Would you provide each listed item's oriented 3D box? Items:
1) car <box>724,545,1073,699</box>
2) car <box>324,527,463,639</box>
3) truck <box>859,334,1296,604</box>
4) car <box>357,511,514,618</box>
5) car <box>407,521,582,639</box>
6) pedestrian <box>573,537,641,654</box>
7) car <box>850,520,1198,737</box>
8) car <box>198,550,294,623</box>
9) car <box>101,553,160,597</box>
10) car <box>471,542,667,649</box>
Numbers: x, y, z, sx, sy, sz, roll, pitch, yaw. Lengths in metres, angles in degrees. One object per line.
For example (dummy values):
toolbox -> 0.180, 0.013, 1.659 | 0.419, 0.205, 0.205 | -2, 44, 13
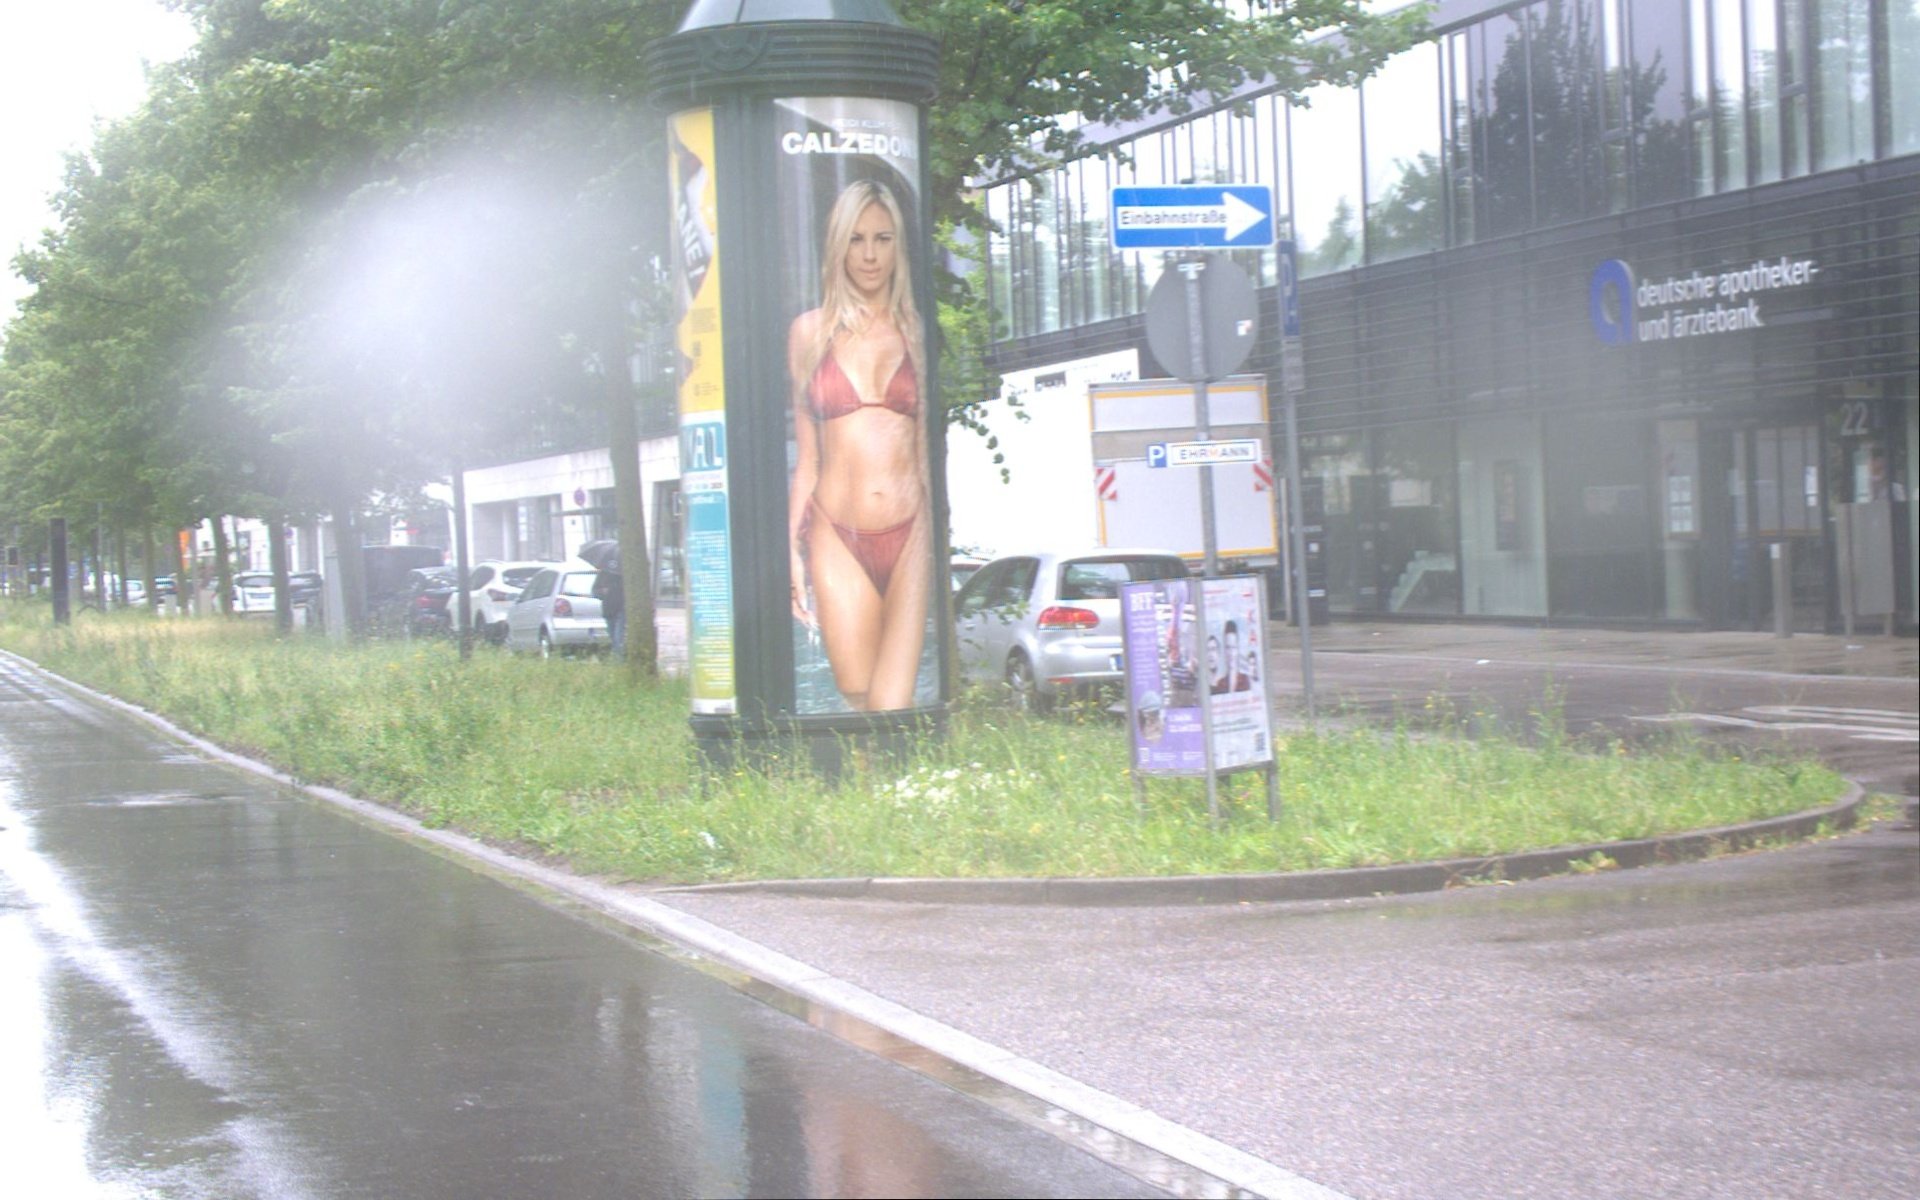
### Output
car -> -0.751, 0.191, 36.121 | 1.993, 1.439, 5.238 | -2, 1, -21
car -> -11.350, -0.385, 68.625 | 1.993, 1.945, 5.031 | -2, 3, -17
truck -> 1.429, -1.739, 48.396 | 3.024, 3.429, 8.550 | -2, 1, -20
car -> -9.479, -0.678, 61.816 | 1.993, 1.663, 4.960 | -2, 3, -17
car -> -7.613, -0.369, 55.836 | 1.993, 1.663, 4.726 | -2, 3, -17
pedestrian -> -4.616, -0.065, 44.936 | 0.697, 1.488, 0.644 | -2, 1, -20
car -> 0.468, 0.176, 29.733 | 1.760, 1.591, 4.102 | -2, 3, -17
car -> -19.086, -0.388, 91.747 | 1.993, 1.663, 4.726 | -2, 3, -17
car -> -32.762, -1.015, 135.749 | 1.881, 1.500, 4.726 | -2, 3, -17
car -> -5.792, -0.102, 50.407 | 1.769, 1.447, 4.725 | -1, 1, -20
